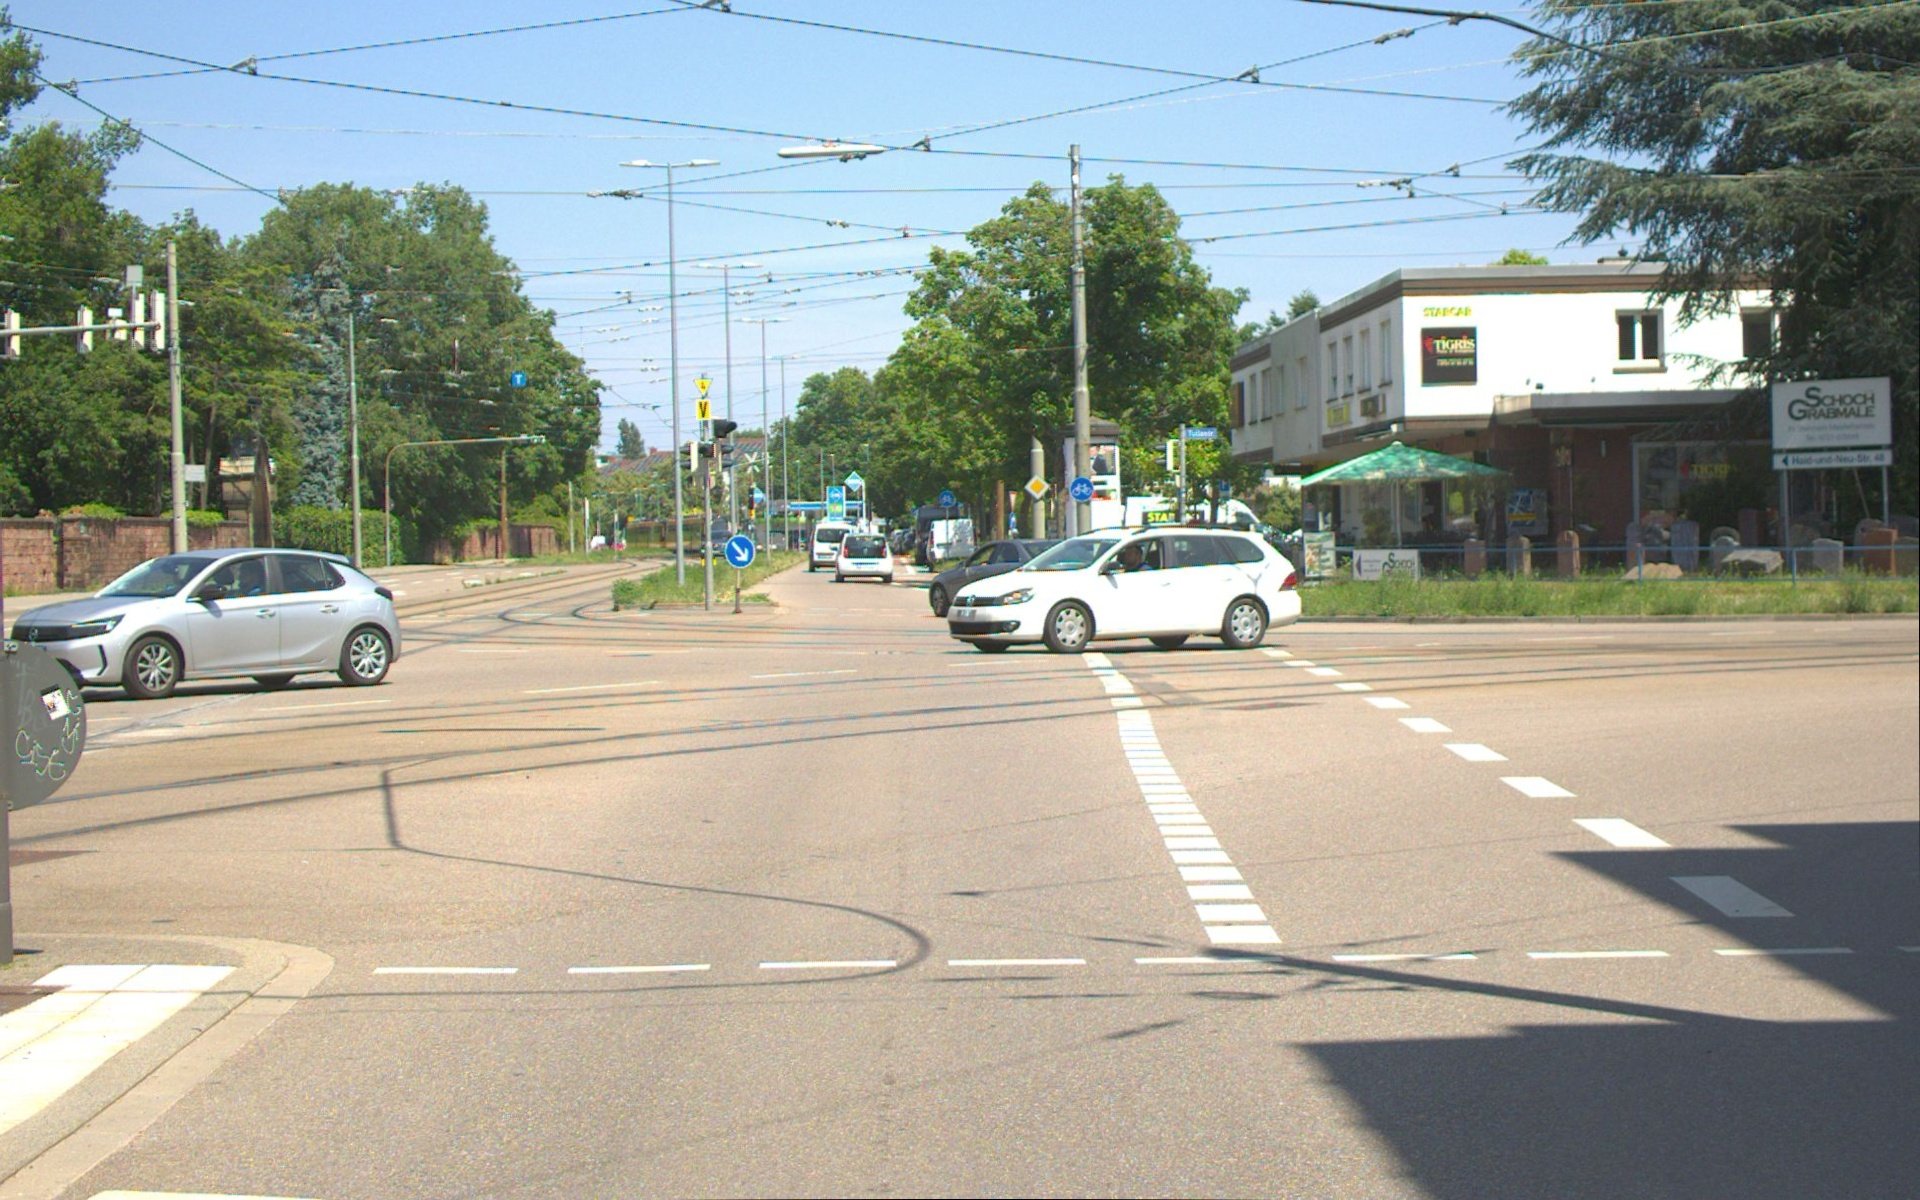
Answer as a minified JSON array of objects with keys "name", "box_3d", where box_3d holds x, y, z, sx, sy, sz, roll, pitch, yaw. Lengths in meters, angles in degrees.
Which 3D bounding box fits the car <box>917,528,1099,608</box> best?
[{"name":"car","box_3d":[0.821,-0.578,61.202,1.636,1.346,3.842,-1,1,-27]}]

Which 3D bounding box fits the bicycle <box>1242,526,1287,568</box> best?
[{"name":"bicycle","box_3d":[7.490,-1.311,84.474,1.034,1.011,2.636,-1,1,6]}]

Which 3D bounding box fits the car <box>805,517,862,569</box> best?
[{"name":"car","box_3d":[-4.629,-2.088,125.681,1.993,1.853,4.001,-1,1,-3]}]

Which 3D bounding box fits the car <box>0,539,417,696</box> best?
[{"name":"car","box_3d":[-7.568,0.146,34.004,1.822,1.358,4.041,-1,2,43]}]

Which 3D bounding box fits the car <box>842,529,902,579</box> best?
[{"name":"car","box_3d":[-2.597,-1.373,101.972,1.670,1.430,3.475,-1,1,0]}]

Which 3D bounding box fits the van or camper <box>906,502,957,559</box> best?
[{"name":"van or camper","box_3d":[-1.278,-3.084,152.810,1.993,2.456,4.001,-1,1,-4]}]

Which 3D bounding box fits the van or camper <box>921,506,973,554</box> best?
[{"name":"van or camper","box_3d":[-0.514,-2.646,130.344,1.922,1.766,4.000,-1,1,-1]}]

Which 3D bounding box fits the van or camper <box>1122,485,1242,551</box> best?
[{"name":"van or camper","box_3d":[9.236,-3.408,143.222,4.756,2.662,2.136,-1,1,-3]}]

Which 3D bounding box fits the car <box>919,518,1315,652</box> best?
[{"name":"car","box_3d":[1.909,-0.211,41.147,4.484,1.484,1.824,-2,1,-32]}]
